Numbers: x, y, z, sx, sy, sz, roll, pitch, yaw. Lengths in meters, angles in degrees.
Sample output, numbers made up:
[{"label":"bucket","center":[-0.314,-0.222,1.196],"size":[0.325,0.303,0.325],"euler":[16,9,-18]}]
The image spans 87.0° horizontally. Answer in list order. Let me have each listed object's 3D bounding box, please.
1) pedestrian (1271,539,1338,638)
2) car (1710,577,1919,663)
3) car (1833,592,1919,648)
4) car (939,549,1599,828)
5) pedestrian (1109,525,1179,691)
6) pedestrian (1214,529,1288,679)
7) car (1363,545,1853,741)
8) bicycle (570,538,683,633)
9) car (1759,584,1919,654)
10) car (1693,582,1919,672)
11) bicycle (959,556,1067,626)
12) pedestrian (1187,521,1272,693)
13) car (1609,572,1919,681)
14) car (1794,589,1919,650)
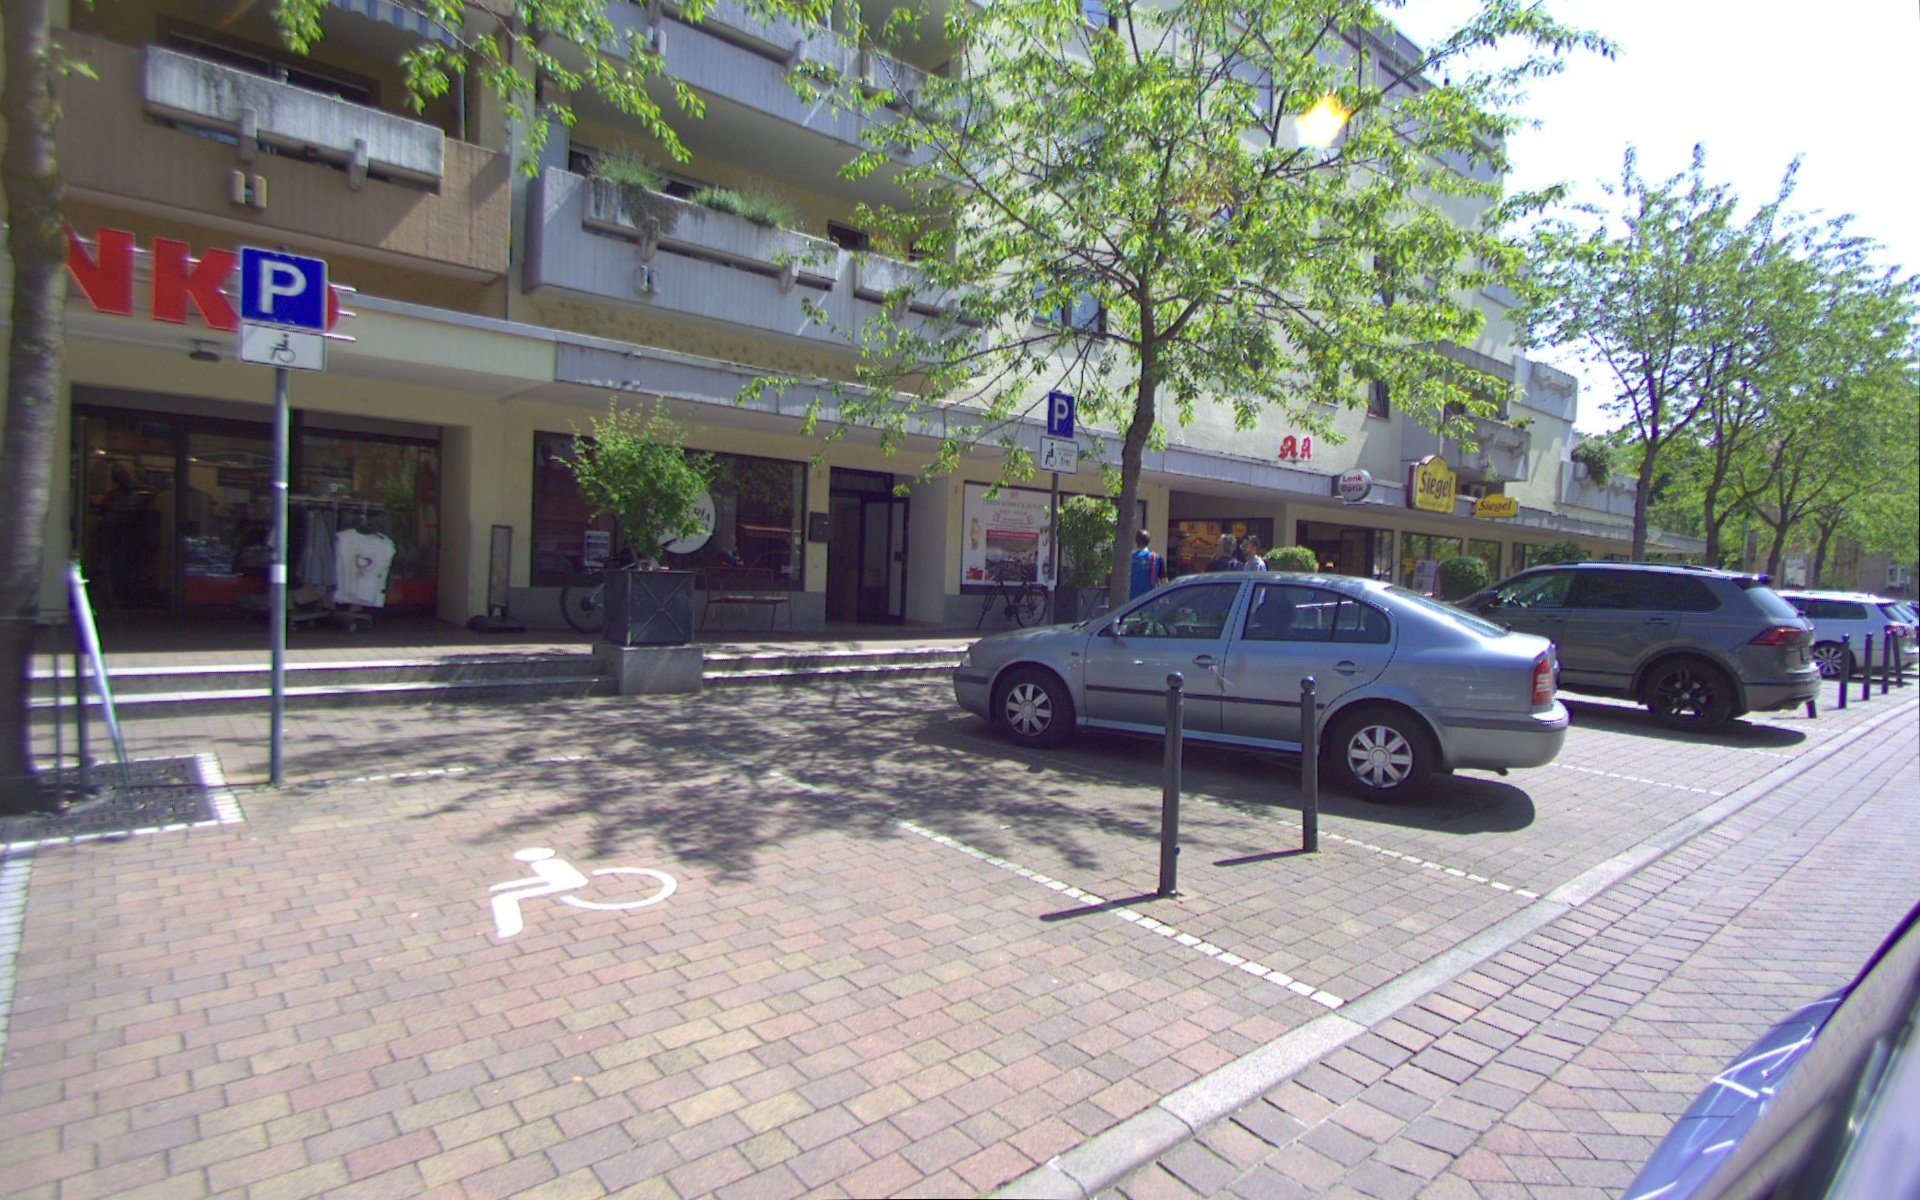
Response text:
[{"label":"pedestrian","center":[6.411,-0.223,18.841],"size":[0.853,1.802,0.760],"euler":[1,2,-34]},{"label":"car","center":[18.988,0.389,22.269],"size":[1.604,1.535,3.653],"euler":[0,4,-40]},{"label":"car","center":[26.700,0.567,28.734],"size":[1.245,1.463,2.702],"euler":[0,2,-41]},{"label":"car","center":[2.190,0.436,7.718],"size":[4.350,1.481,1.871],"euler":[4,3,29]},{"label":"pedestrian","center":[2.055,0.081,11.381],"size":[0.620,1.795,0.687],"euler":[2,1,1]},{"label":"pedestrian","center":[3.491,0.036,12.164],"size":[0.635,1.752,0.617],"euler":[1,1,-7]},{"label":"car","center":[7.003,0.308,11.332],"size":[1.726,1.637,4.252],"euler":[1,4,-42]},{"label":"bicycle","center":[-4.007,-0.180,12.217],"size":[0.359,1.080,1.294],"euler":[2,2,40]},{"label":"car","center":[22.668,0.440,25.712],"size":[1.493,1.481,3.402],"euler":[0,4,-40]},{"label":"car","center":[17.305,0.486,20.363],"size":[1.585,1.448,3.801],"euler":[0,4,-40]},{"label":"bicycle","center":[0.879,-0.158,16.541],"size":[1.834,1.095,0.642],"euler":[-1,2,-41]},{"label":"pedestrian","center":[2.950,0.067,11.124],"size":[0.593,1.818,0.629],"euler":[1,1,-21]},{"label":"car","center":[15.150,0.390,19.035],"size":[1.775,1.562,4.587],"euler":[0,4,-40]},{"label":"car","center":[24.653,0.527,27.049],"size":[1.434,1.407,3.402],"euler":[0,4,-40]}]
